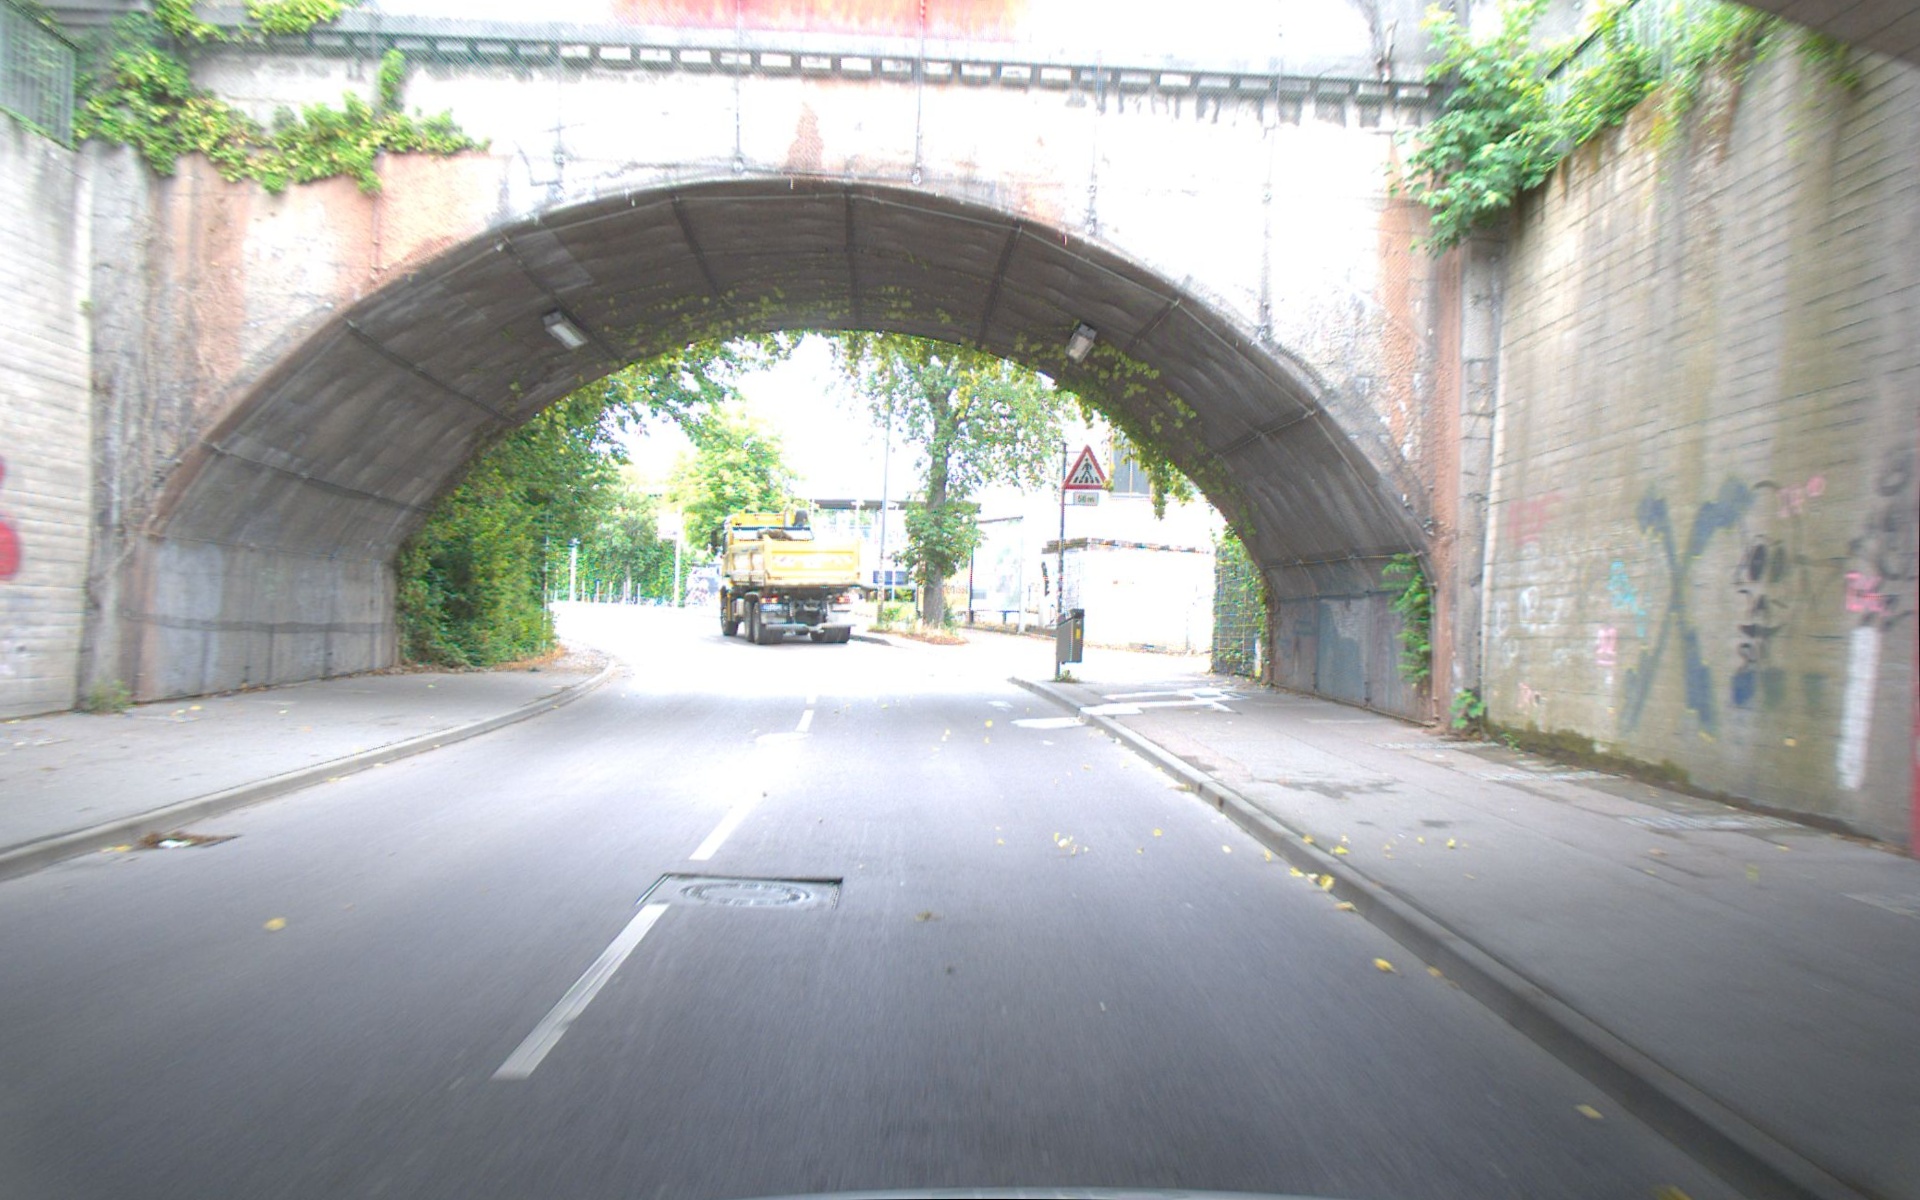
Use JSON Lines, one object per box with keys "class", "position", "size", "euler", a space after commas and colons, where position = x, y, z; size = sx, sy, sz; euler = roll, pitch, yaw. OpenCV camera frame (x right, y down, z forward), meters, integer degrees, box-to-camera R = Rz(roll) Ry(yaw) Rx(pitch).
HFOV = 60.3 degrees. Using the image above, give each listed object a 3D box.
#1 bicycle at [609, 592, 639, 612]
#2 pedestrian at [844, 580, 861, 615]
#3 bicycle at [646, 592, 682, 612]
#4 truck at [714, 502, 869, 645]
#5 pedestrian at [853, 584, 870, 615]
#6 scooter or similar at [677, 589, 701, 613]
{"class": "bicycle", "position": [-18.902, 0.089, 92.962], "size": [1.467, 1.007, 0.689], "euler": [5, -2, -23]}
{"class": "pedestrian", "position": [-5.509, -0.137, 84.699], "size": [0.797, 1.732, 0.748], "euler": [2, -2, -1]}
{"class": "bicycle", "position": [-16.599, 0.114, 92.801], "size": [1.954, 0.880, 0.503], "euler": [8, -3, -41]}
{"class": "truck", "position": [-4.769, -0.793, 45.181], "size": [2.720, 3.544, 8.093], "euler": [1, 2, -16]}
{"class": "pedestrian", "position": [-5.149, -0.022, 86.282], "size": [0.783, 1.611, 0.801], "euler": [2, -2, -1]}
{"class": "scooter or similar", "position": [-15.106, 0.049, 92.114], "size": [1.179, 1.227, 0.462], "euler": [6, -3, -38]}
